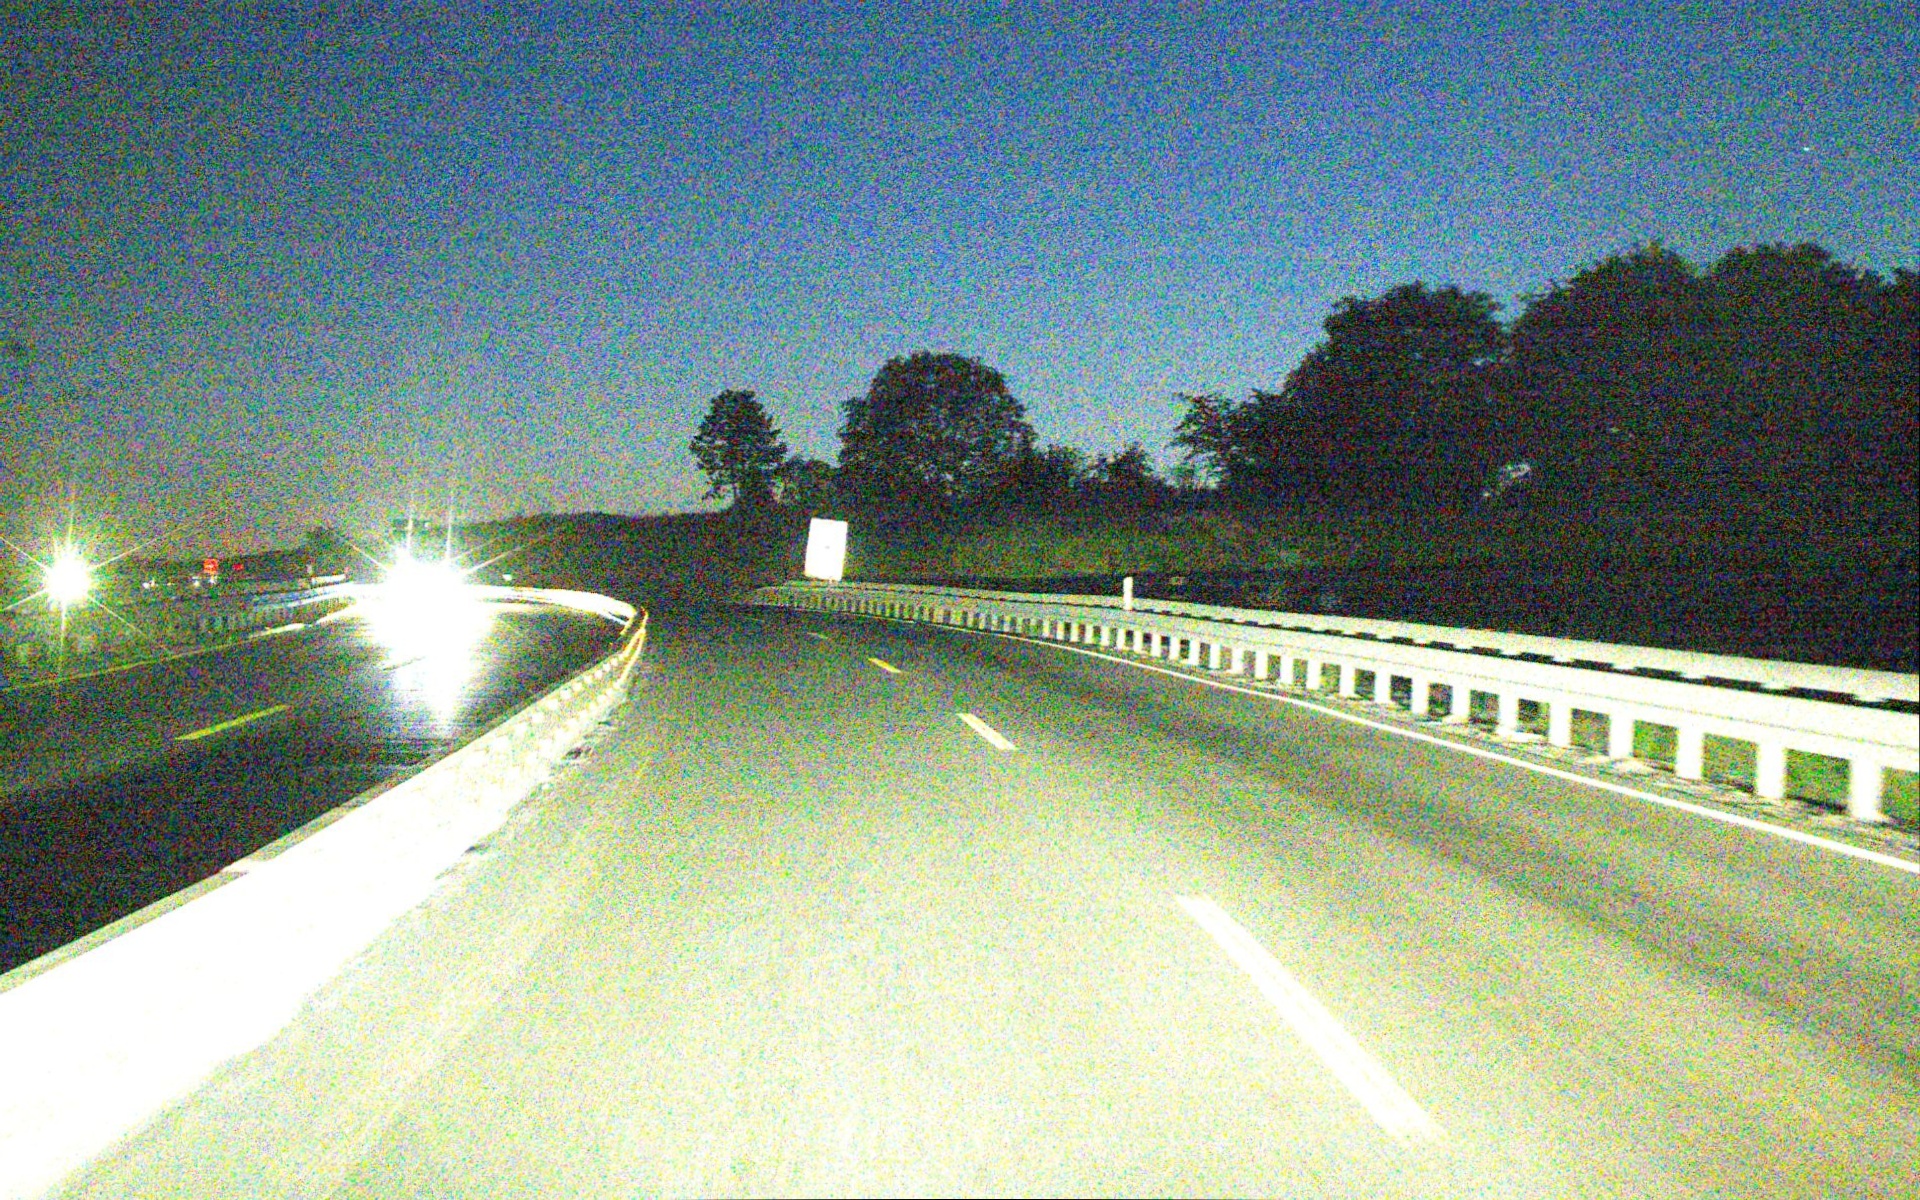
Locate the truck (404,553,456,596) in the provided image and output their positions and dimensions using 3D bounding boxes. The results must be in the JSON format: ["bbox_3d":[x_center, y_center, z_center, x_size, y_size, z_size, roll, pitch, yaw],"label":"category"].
[{"bbox_3d":[-18.736,-0.897,121.418,1.682,1.465,4.154,1,0,-11],"label":"truck"}]
